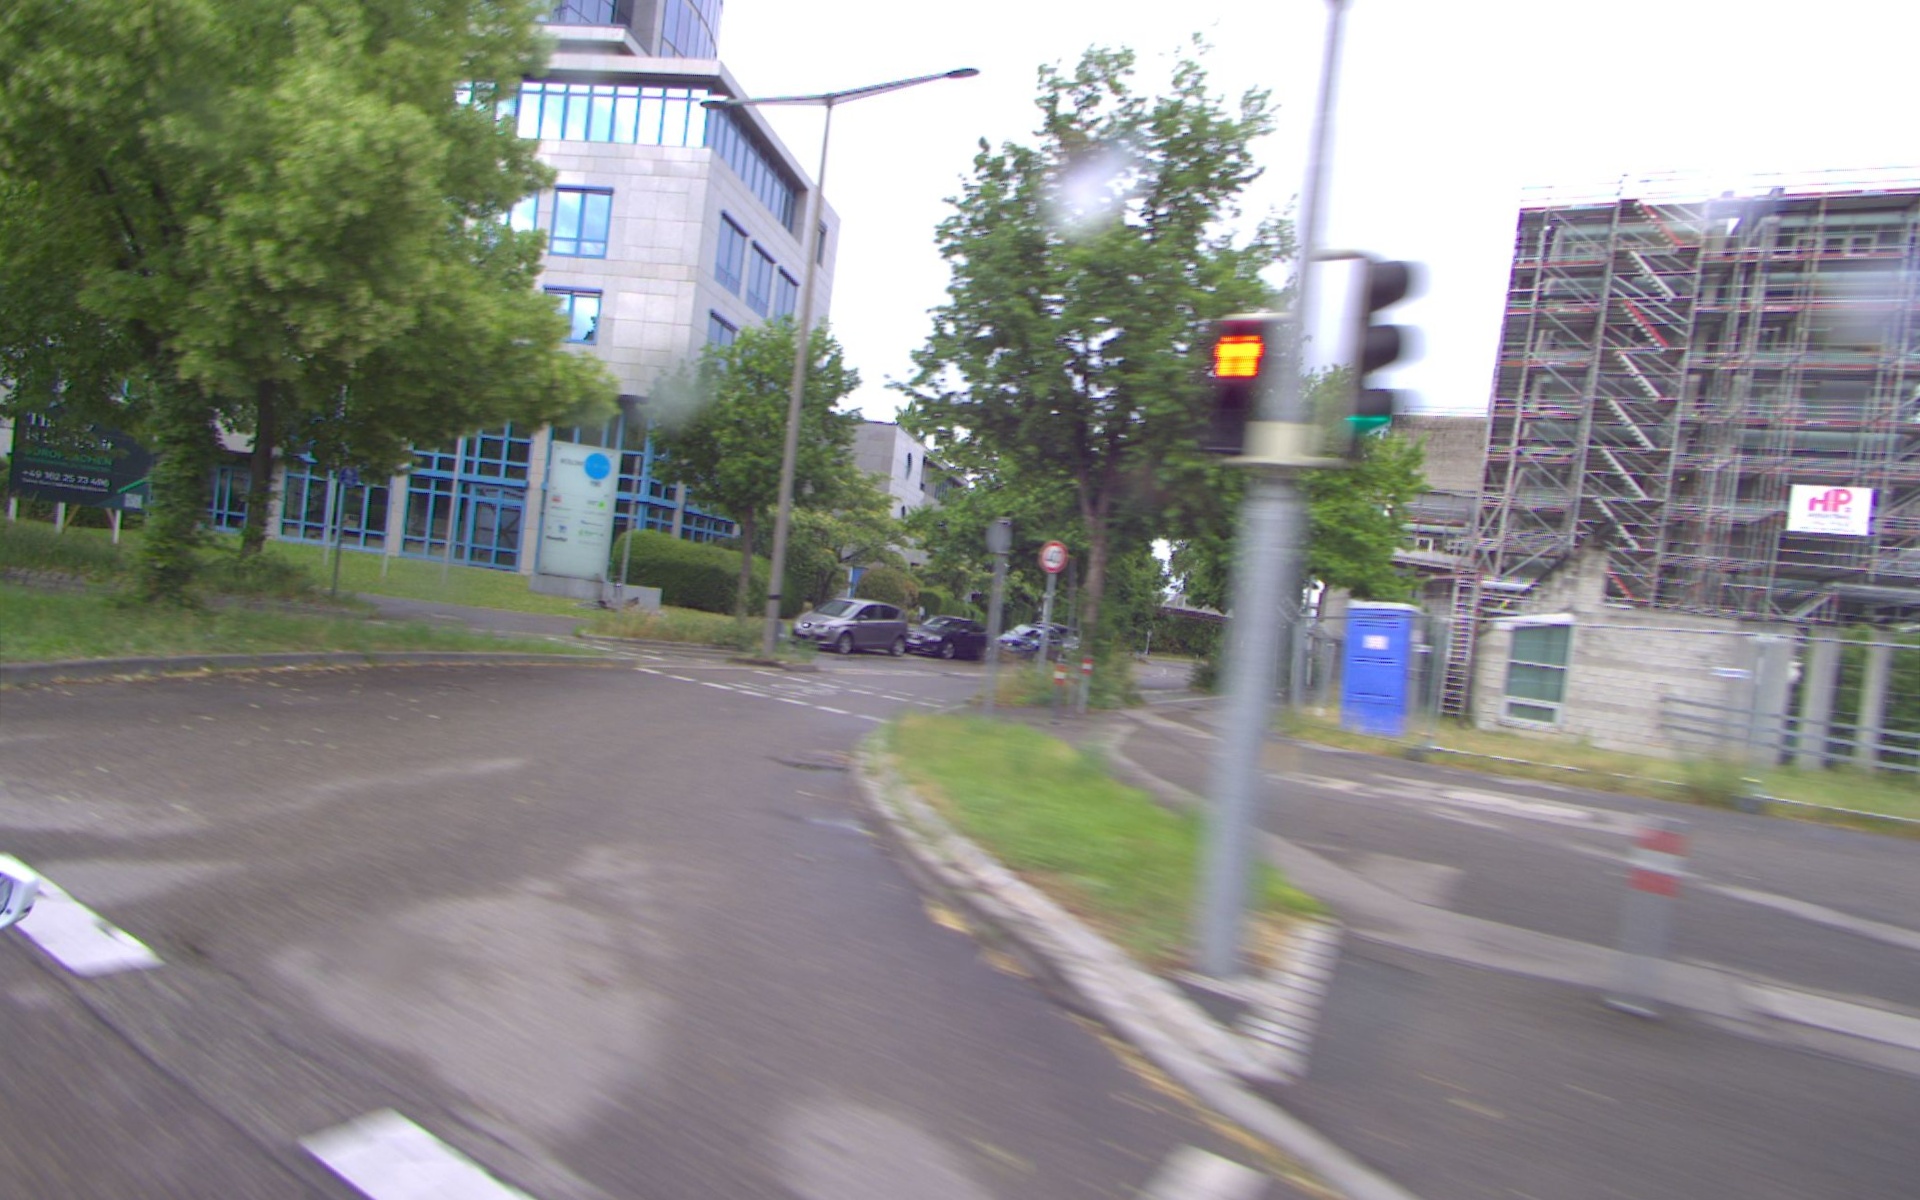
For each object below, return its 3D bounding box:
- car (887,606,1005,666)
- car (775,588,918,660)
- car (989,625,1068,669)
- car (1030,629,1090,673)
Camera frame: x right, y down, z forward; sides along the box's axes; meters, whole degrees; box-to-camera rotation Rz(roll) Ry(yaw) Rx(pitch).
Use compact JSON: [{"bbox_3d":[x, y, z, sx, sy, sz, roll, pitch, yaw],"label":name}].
[{"bbox_3d":[-0.406,1.246,34.130,1.730,1.598,4.098,9,1,36],"label":"car"},{"bbox_3d":[-3.284,0.747,29.739,1.730,1.662,4.098,9,1,36],"label":"car"},{"bbox_3d":[2.858,1.950,41.099,1.726,1.451,4.107,9,1,25],"label":"car"},{"bbox_3d":[4.606,2.288,45.837,1.725,1.641,4.111,9,1,17],"label":"car"}]
